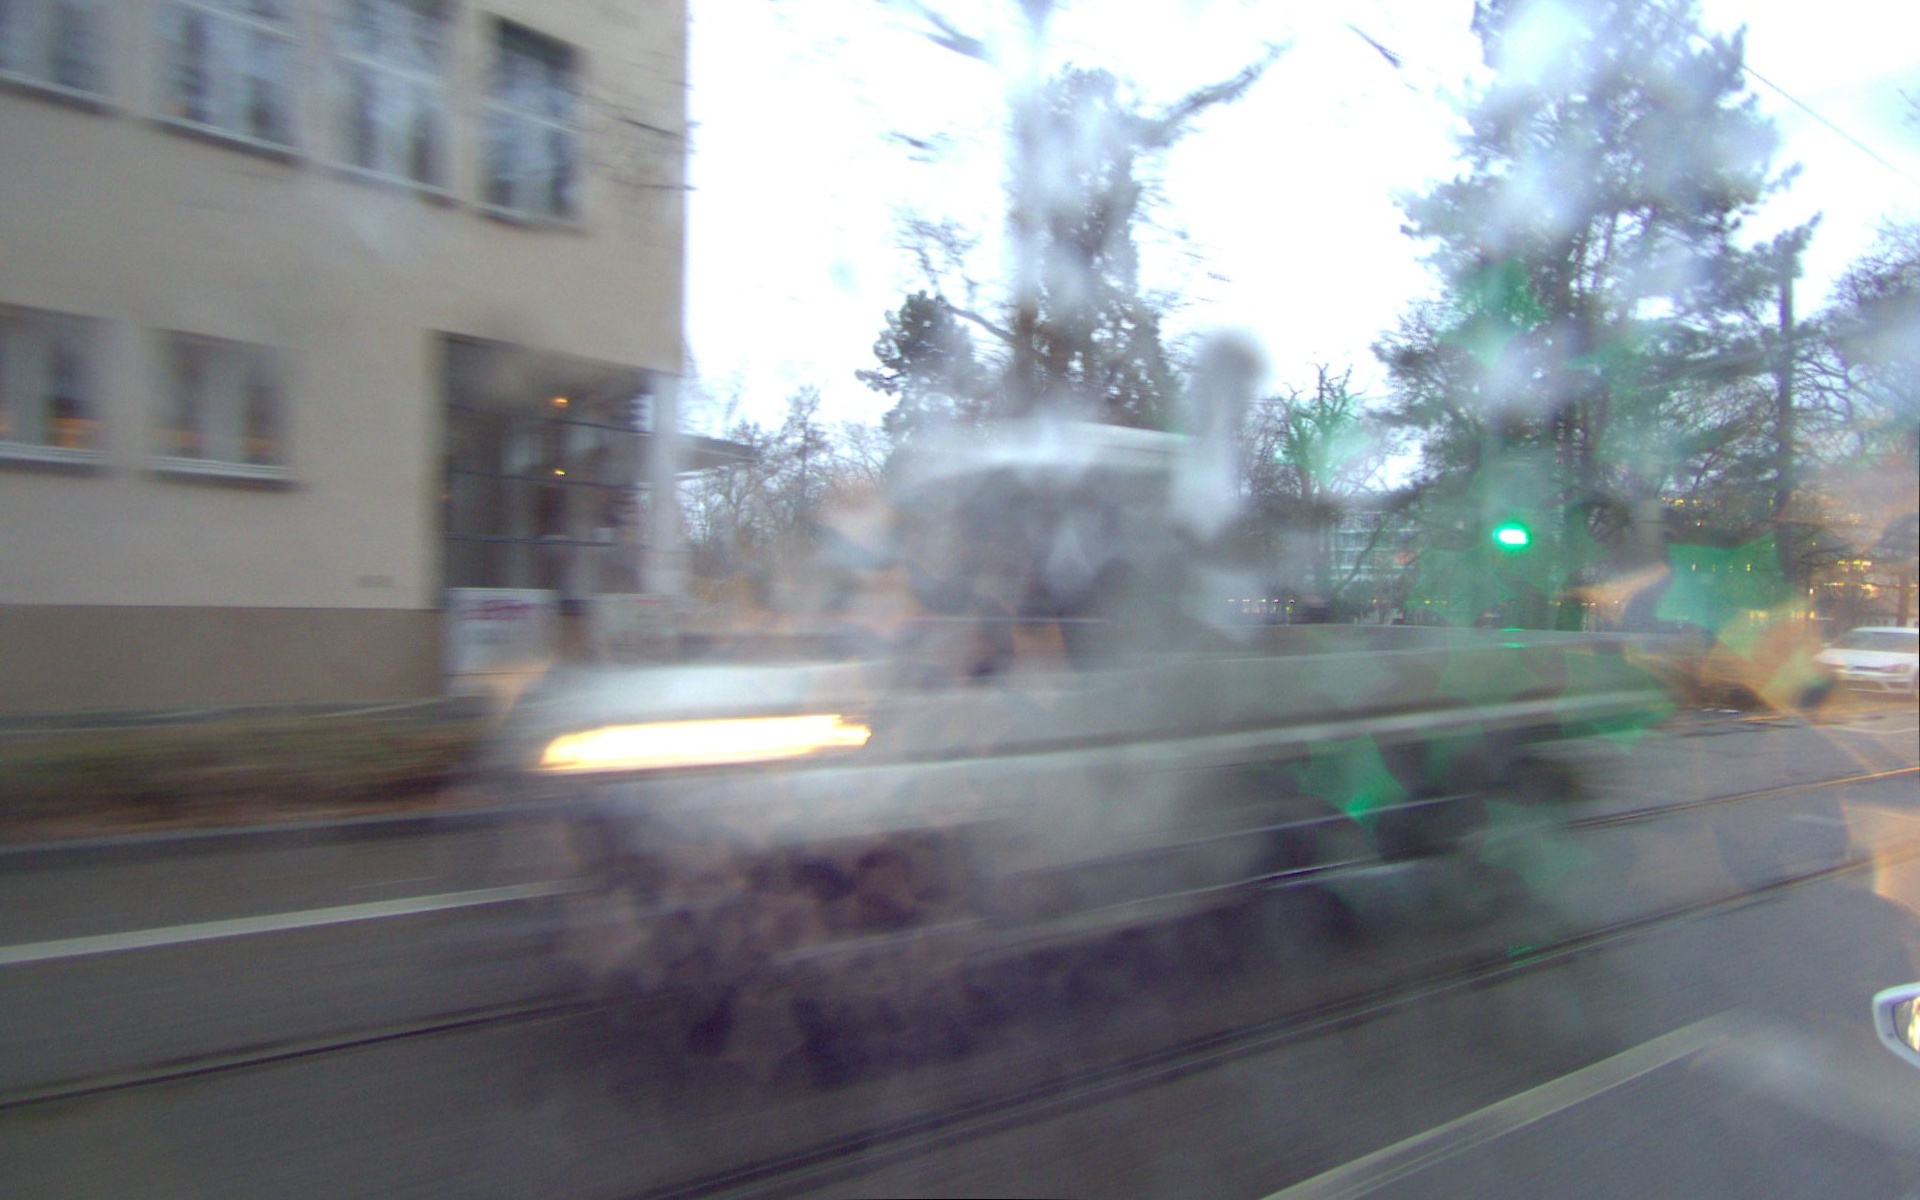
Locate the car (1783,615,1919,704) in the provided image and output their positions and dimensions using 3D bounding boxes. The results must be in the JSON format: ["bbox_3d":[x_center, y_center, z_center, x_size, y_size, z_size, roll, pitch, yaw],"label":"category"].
[{"bbox_3d":[19.437,1.209,21.266,4.385,1.637,1.971,2,0,-35],"label":"car"}]

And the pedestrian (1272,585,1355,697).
[{"bbox_3d":[6.003,0.676,17.074,0.997,1.839,0.817,2,0,-27],"label":"pedestrian"}]

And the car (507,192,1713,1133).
[{"bbox_3d":[1.012,0.248,5.068,5.776,2.378,2.435,2,-1,-30],"label":"car"}]
